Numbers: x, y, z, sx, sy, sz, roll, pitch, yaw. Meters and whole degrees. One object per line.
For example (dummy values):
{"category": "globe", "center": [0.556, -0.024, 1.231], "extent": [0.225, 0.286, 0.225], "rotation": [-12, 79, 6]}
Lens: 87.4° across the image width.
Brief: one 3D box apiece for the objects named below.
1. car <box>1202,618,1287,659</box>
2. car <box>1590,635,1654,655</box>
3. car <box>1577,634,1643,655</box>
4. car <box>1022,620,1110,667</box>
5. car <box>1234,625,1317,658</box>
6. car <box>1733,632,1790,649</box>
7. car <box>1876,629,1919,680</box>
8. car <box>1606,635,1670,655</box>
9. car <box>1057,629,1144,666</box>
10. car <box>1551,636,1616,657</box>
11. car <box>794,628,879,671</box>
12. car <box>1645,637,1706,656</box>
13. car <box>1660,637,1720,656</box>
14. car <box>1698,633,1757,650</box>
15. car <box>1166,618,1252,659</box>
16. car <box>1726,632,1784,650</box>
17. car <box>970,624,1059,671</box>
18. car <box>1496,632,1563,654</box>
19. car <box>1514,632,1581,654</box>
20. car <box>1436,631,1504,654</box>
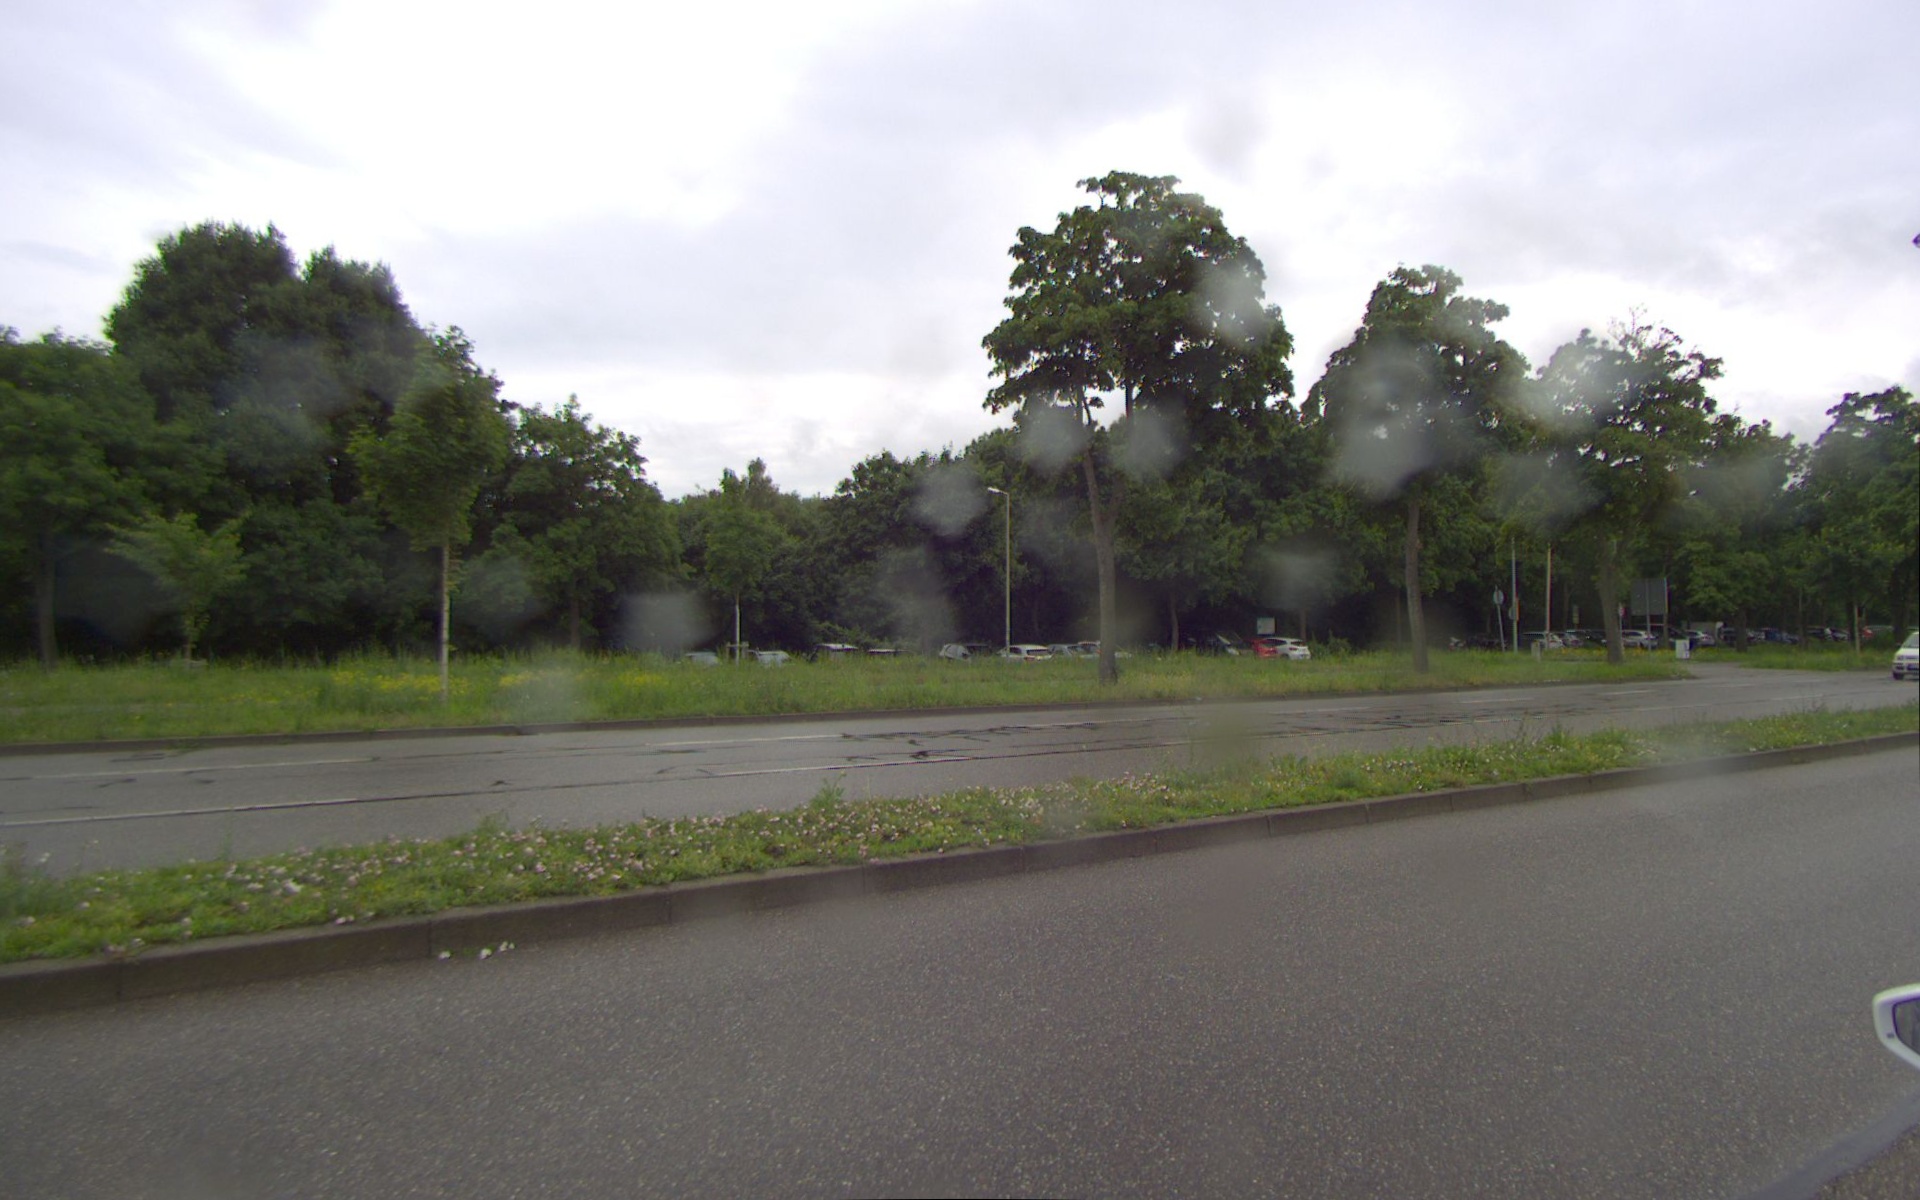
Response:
{"category": "car", "center": [14.902, 2.009, 52.841], "extent": [1.980, 2.040, 3.961], "rotation": [1, -2, -35]}
{"category": "car", "center": [50.395, 3.393, 76.540], "extent": [1.509, 1.471, 3.811], "rotation": [1, -2, -35]}
{"category": "car", "center": [48.471, 3.309, 74.962], "extent": [1.509, 1.471, 3.811], "rotation": [1, -2, -35]}
{"category": "car", "center": [4.828, 1.967, 46.253], "extent": [1.980, 2.040, 3.961], "rotation": [1, -2, -35]}
{"category": "car", "center": [16.962, 2.201, 54.093], "extent": [1.892, 1.661, 3.961], "rotation": [1, -2, -35]}
{"category": "car", "center": [71.183, 3.614, 89.266], "extent": [3.796, 1.471, 1.515], "rotation": [-1, -2, 45]}
{"category": "car", "center": [31.483, 1.755, 32.418], "extent": [3.952, 1.574, 1.675], "rotation": [2, 0, -29]}
{"category": "car", "center": [52.559, 3.497, 77.943], "extent": [1.509, 1.471, 3.811], "rotation": [1, -2, -35]}
{"category": "car", "center": [6.627, 2.235, 47.670], "extent": [1.980, 1.639, 3.961], "rotation": [1, -2, -35]}
{"category": "car", "center": [46.028, 3.397, 74.207], "extent": [1.509, 1.471, 3.811], "rotation": [1, -2, -35]}
{"category": "car", "center": [-5.052, 1.959, 40.639], "extent": [1.805, 1.661, 3.961], "rotation": [1, -2, -35]}
{"category": "car", "center": [58.511, 3.767, 82.224], "extent": [1.509, 1.471, 3.811], "rotation": [1, -2, -35]}
{"category": "car", "center": [60.584, 3.853, 83.397], "extent": [1.509, 1.471, 3.811], "rotation": [1, -2, -35]}
{"category": "car", "center": [65.377, 3.516, 85.567], "extent": [1.513, 1.471, 3.801], "rotation": [1, -2, -42]}
{"category": "car", "center": [12.724, 1.946, 51.544], "extent": [1.980, 2.040, 3.961], "rotation": [1, -2, -35]}
{"category": "car", "center": [69.758, 3.570, 88.158], "extent": [3.796, 1.471, 1.515], "rotation": [-1, -2, 45]}
{"category": "car", "center": [2.410, 2.088, 45.190], "extent": [1.980, 2.040, 3.961], "rotation": [1, -2, -35]}
{"category": "car", "center": [39.556, 2.950, 69.832], "extent": [1.509, 1.471, 3.811], "rotation": [1, -2, -35]}
{"category": "car", "center": [41.709, 3.043, 71.393], "extent": [1.509, 1.471, 3.811], "rotation": [1, -2, -35]}
{"category": "car", "center": [33.275, 2.762, 65.616], "extent": [1.473, 1.445, 3.710], "rotation": [1, -2, -35]}
